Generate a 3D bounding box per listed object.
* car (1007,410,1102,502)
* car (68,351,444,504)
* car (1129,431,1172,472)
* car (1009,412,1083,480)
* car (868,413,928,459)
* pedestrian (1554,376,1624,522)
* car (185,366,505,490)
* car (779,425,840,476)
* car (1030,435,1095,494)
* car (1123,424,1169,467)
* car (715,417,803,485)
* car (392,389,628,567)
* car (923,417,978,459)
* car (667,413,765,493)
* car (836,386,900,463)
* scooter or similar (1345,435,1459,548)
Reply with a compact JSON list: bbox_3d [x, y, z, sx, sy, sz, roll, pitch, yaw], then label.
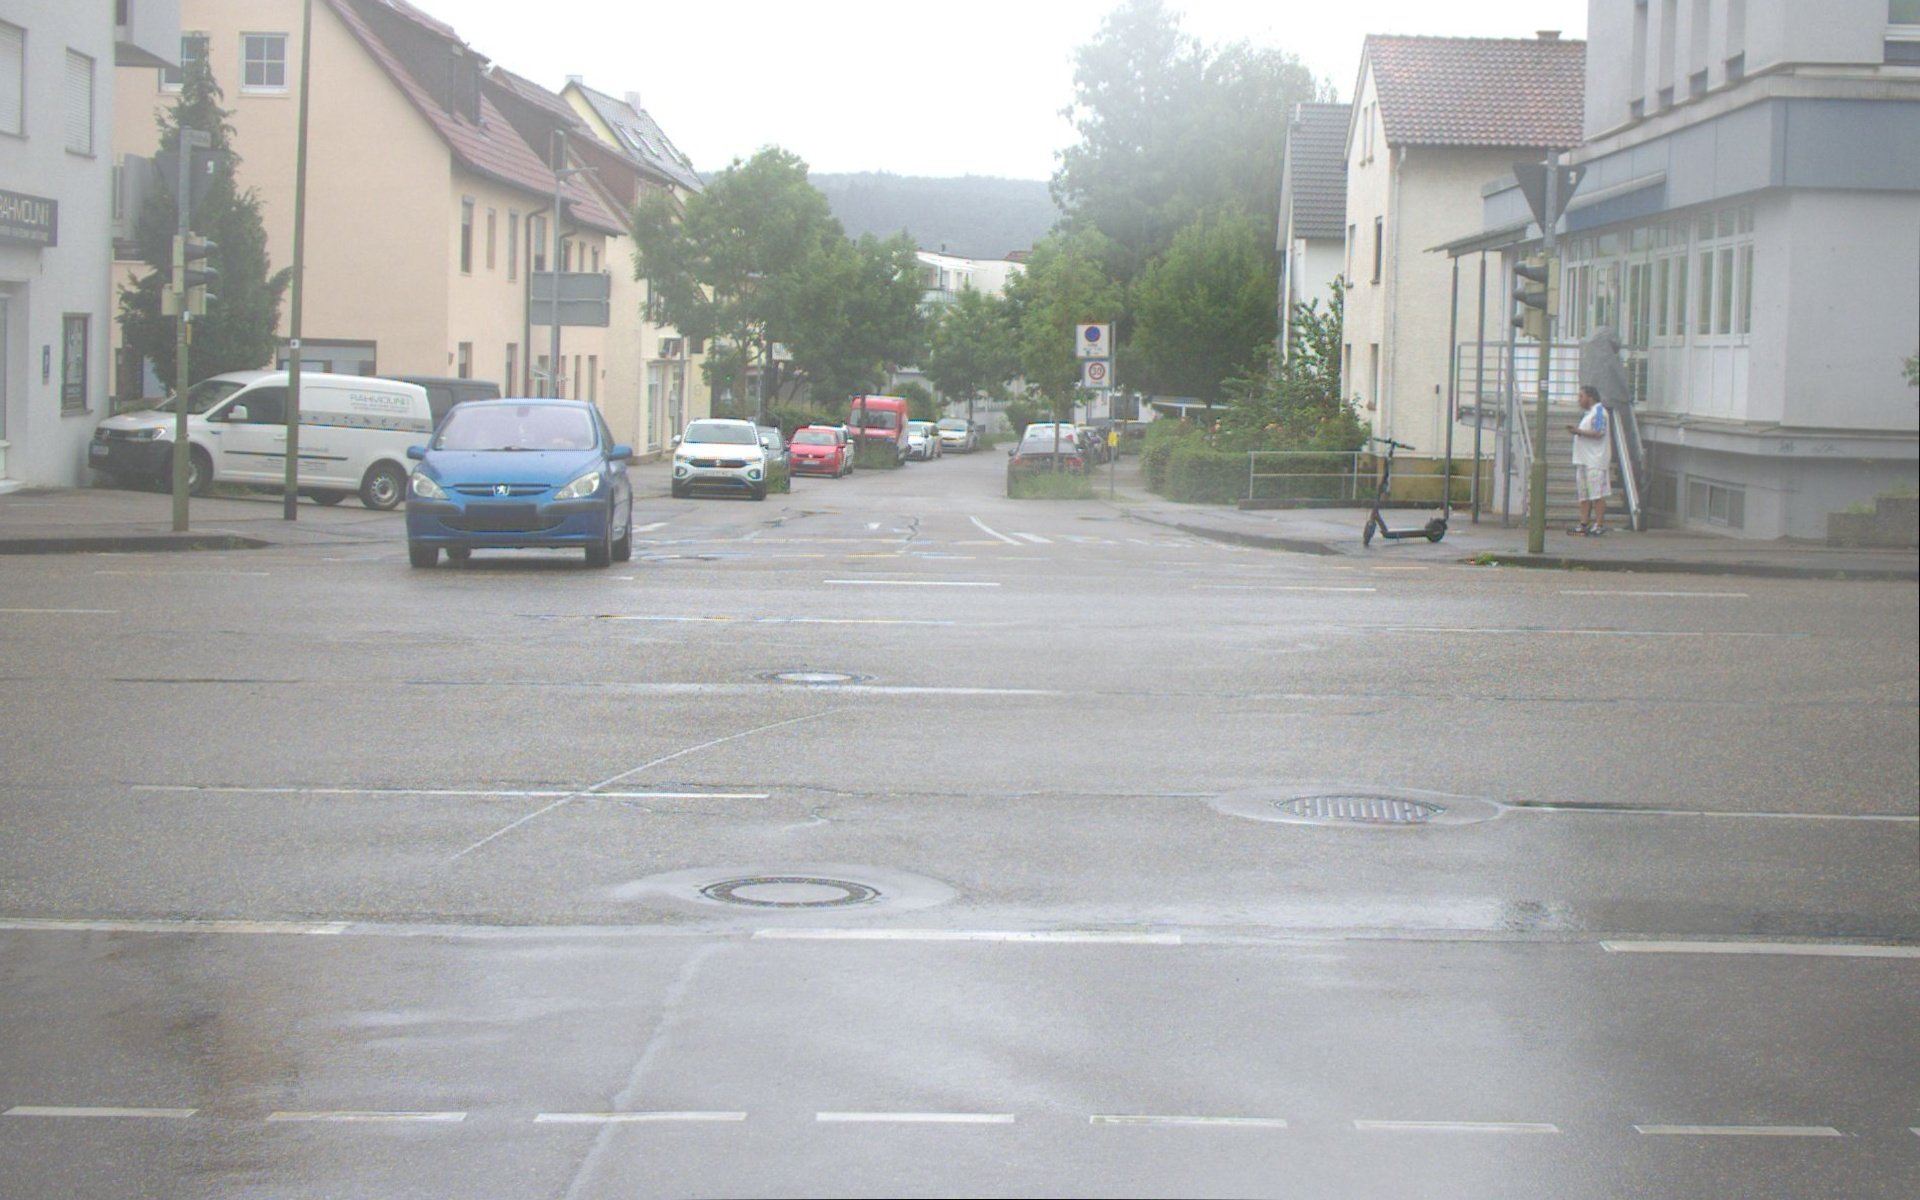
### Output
[{"bbox_3d":[2.253,-3.359,80.933,1.994,2.007,3.999,1,0,5],"label":"car"},{"bbox_3d":[-9.654,-2.341,47.332,4.715,1.772,1.772,2,0,-39],"label":"car"},{"bbox_3d":[9.431,-7.370,170.297,1.994,2.006,4.000,1,2,5],"label":"car"},{"bbox_3d":[2.598,-4.617,103.141,1.994,2.006,4.000,1,2,5],"label":"car"},{"bbox_3d":[-2.469,-6.574,138.267,1.994,1.678,3.999,1,0,5],"label":"car"},{"bbox_3d":[7.209,-1.724,39.414,0.654,1.646,0.646,1,0,0],"label":"pedestrian"},{"bbox_3d":[-9.681,-2.697,54.338,4.608,1.882,1.963,-2,3,-39],"label":"car"},{"bbox_3d":[-4.567,-4.528,103.988,1.767,1.513,4.001,0,2,-3],"label":"car"},{"bbox_3d":[3.540,-4.675,118.357,1.994,2.006,4.000,1,2,5],"label":"car"},{"bbox_3d":[8.754,-7.258,161.666,1.994,2.006,4.000,1,2,5],"label":"car"},{"bbox_3d":[-4.588,-3.419,79.040,1.767,1.513,4.195,0,2,0],"label":"car"},{"bbox_3d":[-3.927,-1.029,30.531,1.767,1.440,4.000,1,0,-3],"label":"car"},{"bbox_3d":[-0.420,-7.260,154.235,1.994,1.700,3.999,1,0,6],"label":"car"},{"bbox_3d":[-4.768,-2.893,67.597,1.767,1.518,4.001,0,2,-2],"label":"car"},{"bbox_3d":[-3.355,-6.431,126.345,2.216,2.759,5.725,0,2,-1],"label":"car"},{"bbox_3d":[4.919,-1.199,38.295,1.058,1.223,0.802,1,0,-9],"label":"scooter or similar"}]
